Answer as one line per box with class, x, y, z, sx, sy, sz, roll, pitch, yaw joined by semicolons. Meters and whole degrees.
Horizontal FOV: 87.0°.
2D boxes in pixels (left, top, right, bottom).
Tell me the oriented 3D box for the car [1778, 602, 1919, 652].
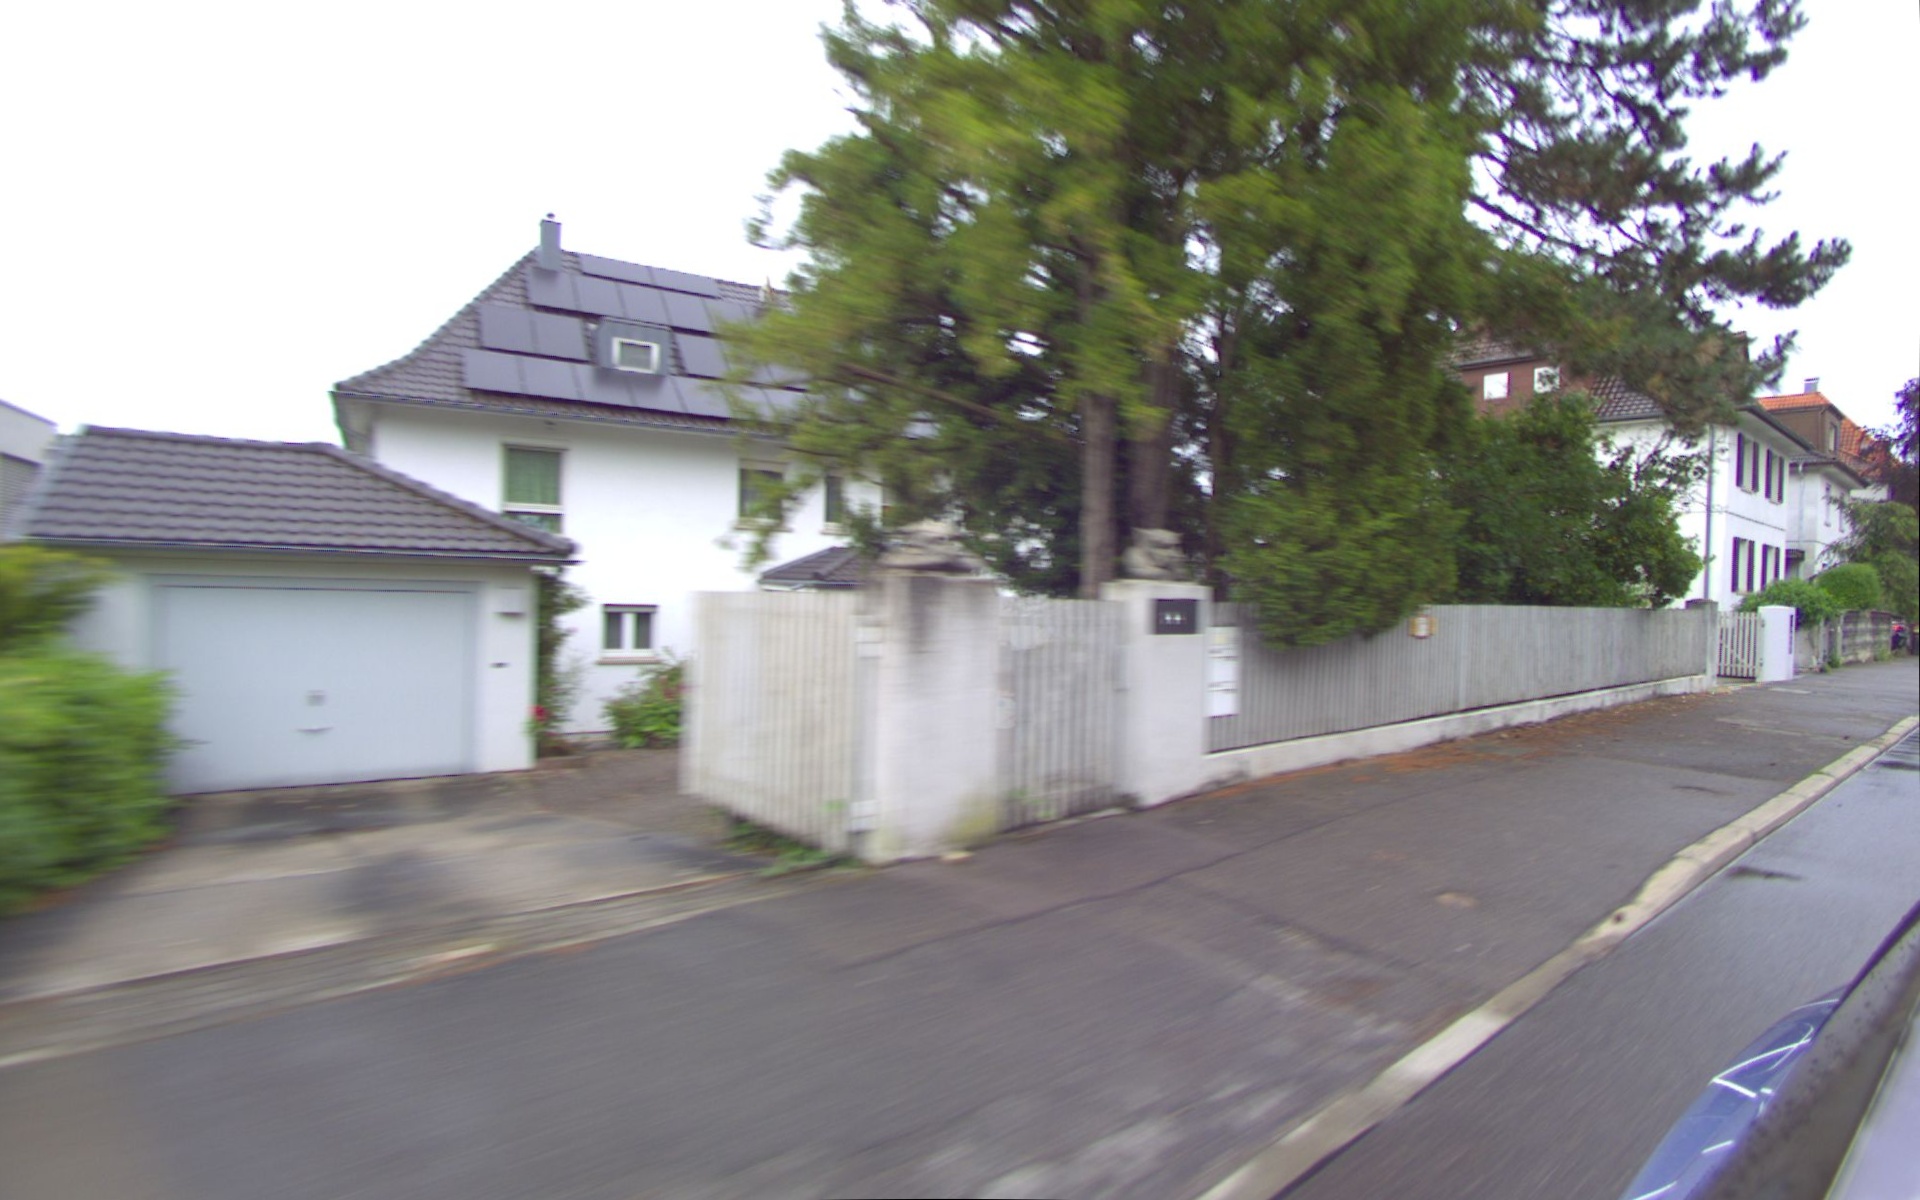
car;31.581;0.948;35.727;1.885;1.661;3.993;3;-2;-41
